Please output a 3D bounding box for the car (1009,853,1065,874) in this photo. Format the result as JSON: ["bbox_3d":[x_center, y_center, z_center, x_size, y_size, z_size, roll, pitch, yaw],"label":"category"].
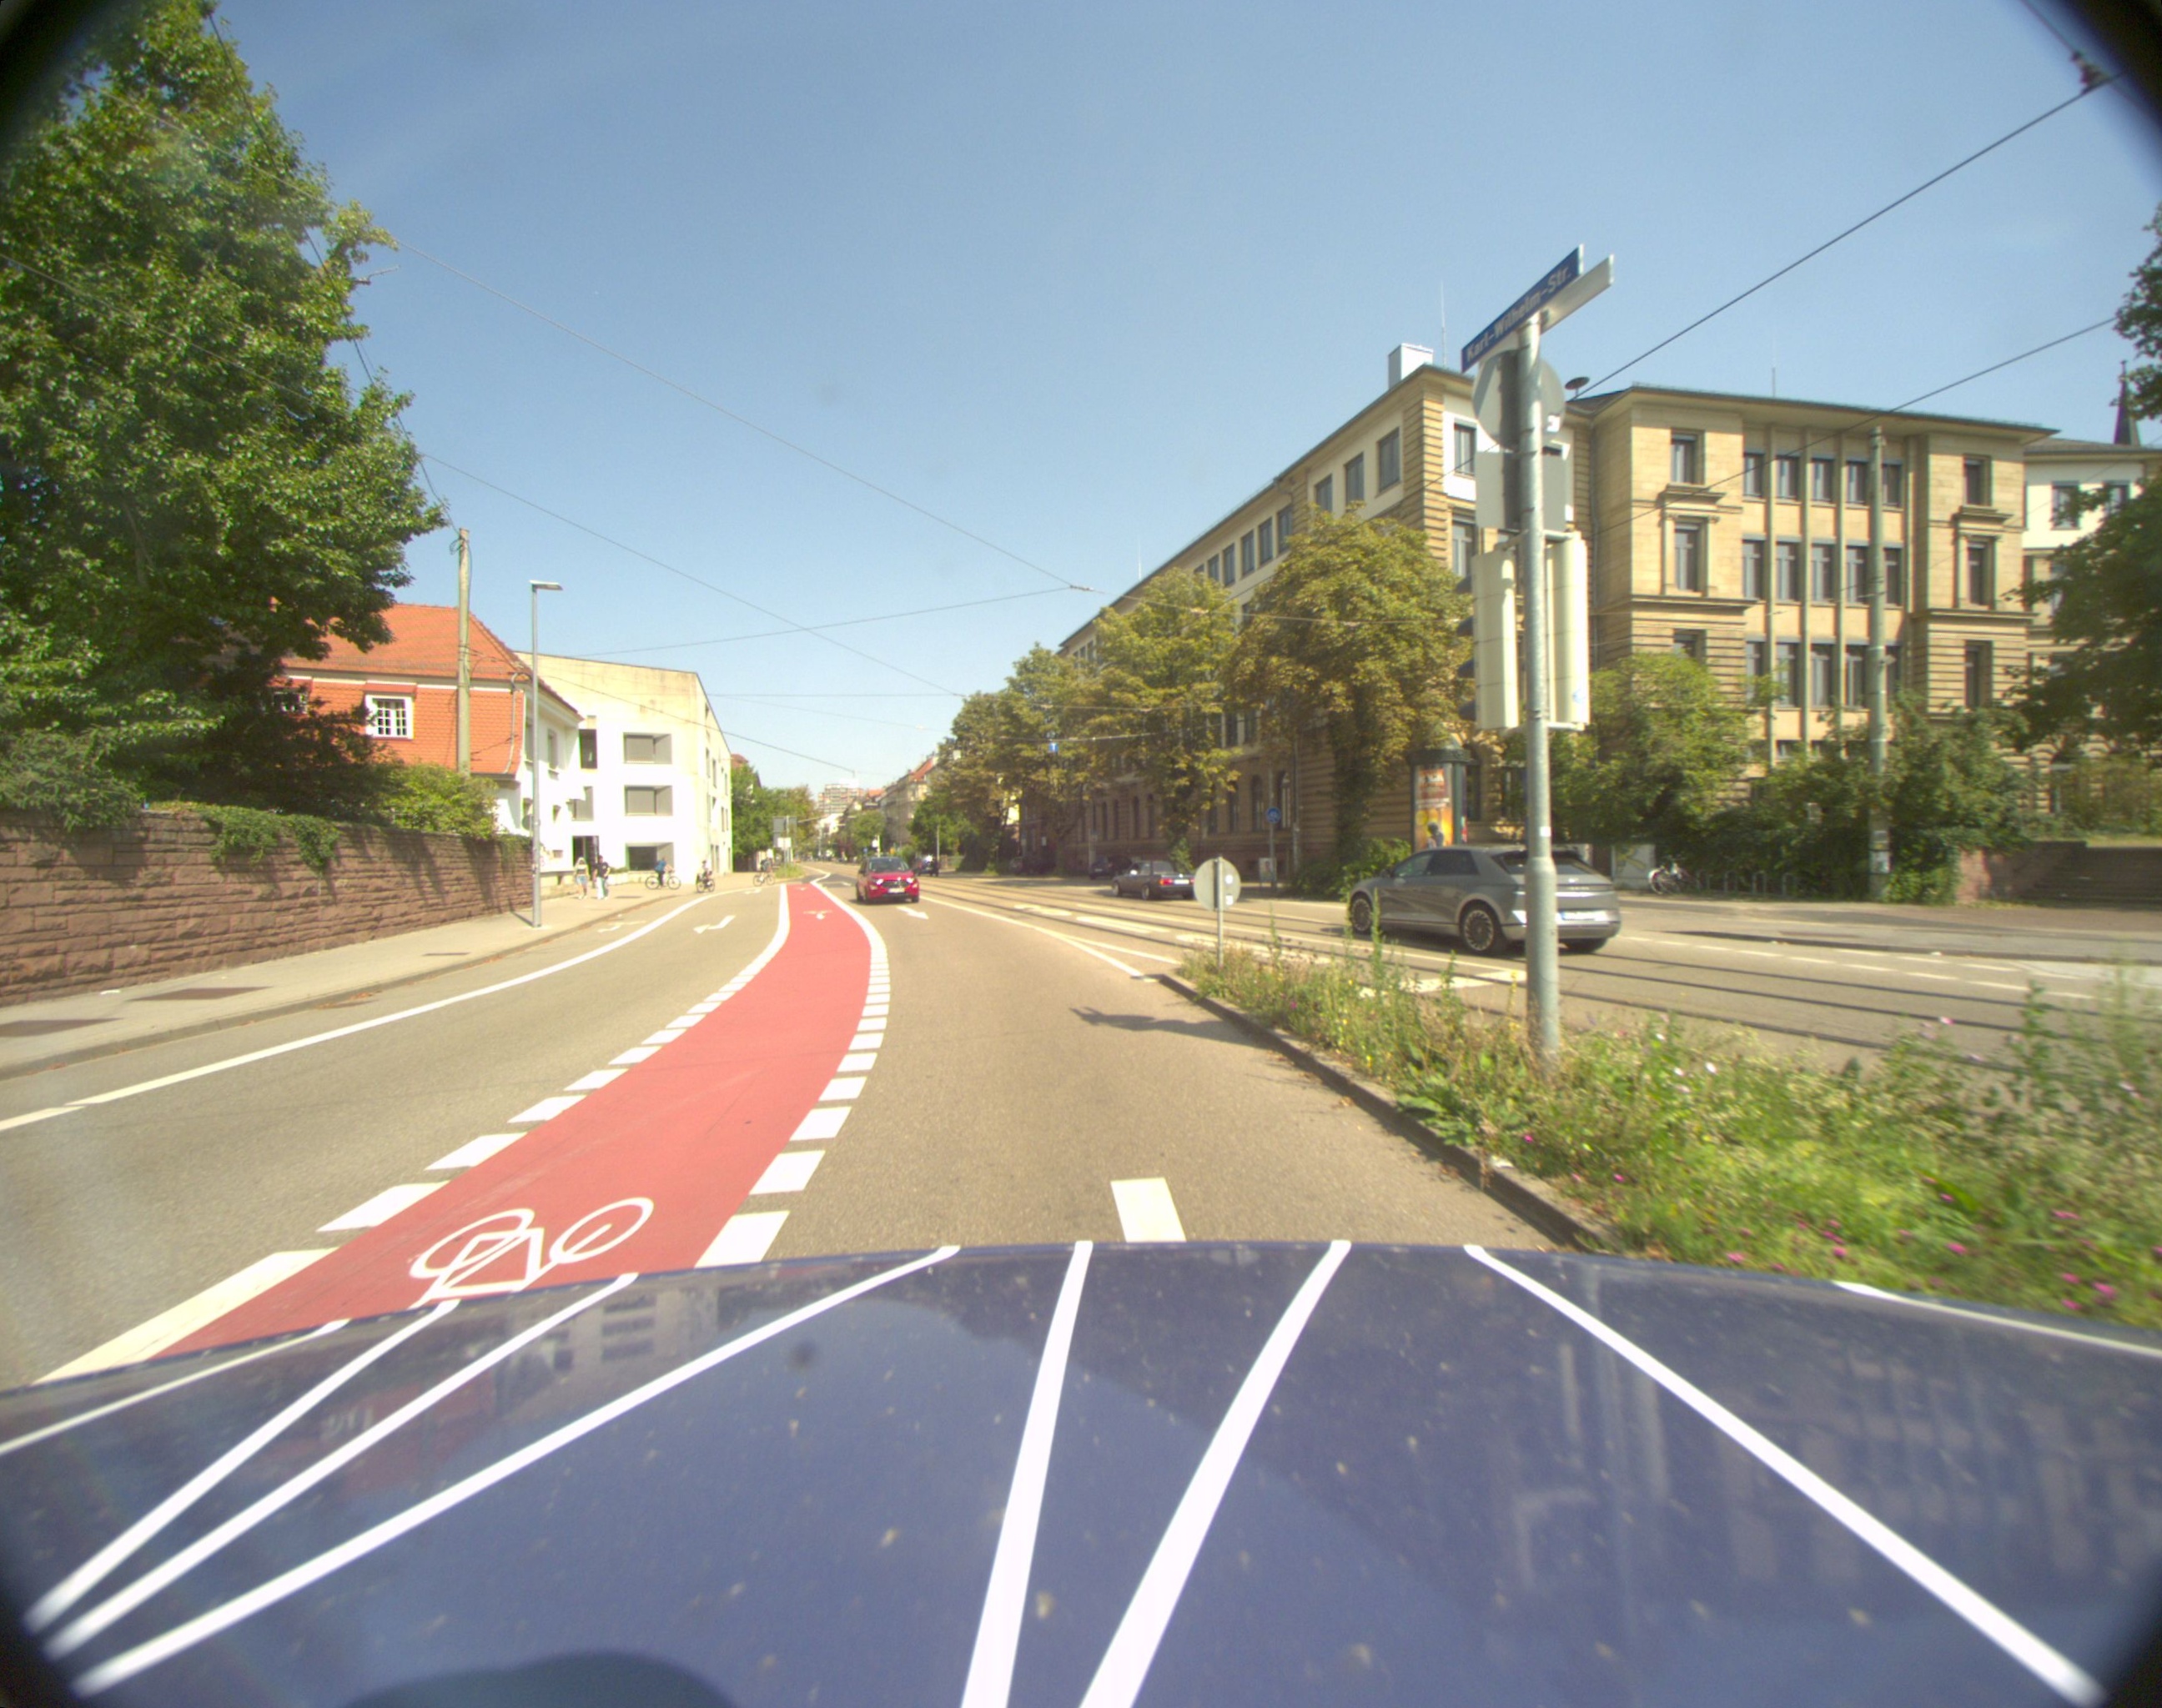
[{"bbox_3d":[-3.440,0.728,60.167,1.816,1.453,4.438,-1,1,42],"label":"car"}]

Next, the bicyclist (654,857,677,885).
[{"bbox_3d":[-22.483,0.916,41.100,0.626,1.530,0.906,1,-1,39],"label":"bicyclist"}]

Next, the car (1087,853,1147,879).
[{"bbox_3d":[2.236,0.702,46.326,1.816,1.487,4.172,-1,0,32],"label":"car"}]

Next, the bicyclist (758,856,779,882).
[{"bbox_3d":[-19.759,0.930,48.055,0.626,1.589,0.994,0,1,32],"label":"bicyclist"}]

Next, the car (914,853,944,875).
[{"bbox_3d":[-12.029,0.748,60.044,1.698,1.645,3.574,-2,1,-21],"label":"car"}]

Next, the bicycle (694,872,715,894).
[{"bbox_3d":[-19.282,1.447,38.976,0.742,1.042,2.229,-2,0,-21],"label":"bicycle"}]

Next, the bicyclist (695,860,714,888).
[{"bbox_3d":[-19.310,1.003,39.013,0.748,1.403,0.960,-2,1,-21],"label":"bicyclist"}]

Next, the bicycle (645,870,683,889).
[{"bbox_3d":[-22.522,1.353,41.042,0.614,0.994,1.715,0,-1,39],"label":"bicycle"}]

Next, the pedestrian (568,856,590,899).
[{"bbox_3d":[-20.057,0.930,30.377,0.621,1.656,0.486,-2,1,-22],"label":"pedestrian"}]

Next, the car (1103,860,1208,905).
[{"bbox_3d":[2.434,0.901,26.096,1.695,1.370,4.609,-1,0,-21],"label":"car"}]

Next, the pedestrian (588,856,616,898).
[{"bbox_3d":[-19.300,0.907,30.643,0.730,1.656,0.878,-2,1,-19],"label":"pedestrian"}]

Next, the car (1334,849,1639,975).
[{"bbox_3d":[6.106,0.751,12.233,1.778,1.601,4.668,-1,0,-11],"label":"car"}]

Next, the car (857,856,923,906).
[{"bbox_3d":[-6.757,0.883,26.626,1.819,1.542,4.014,-2,0,-20],"label":"car"}]

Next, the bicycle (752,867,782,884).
[{"bbox_3d":[-19.805,1.337,47.996,0.614,0.994,1.714,0,0,32],"label":"bicycle"}]

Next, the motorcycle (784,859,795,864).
[{"bbox_3d":[-61.449,1.668,160.252,2.003,1.009,0.795,2,-1,-22],"label":"motorcycle"}]

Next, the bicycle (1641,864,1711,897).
[{"bbox_3d":[17.818,0.777,22.752,2.183,0.889,0.748,-1,0,-25],"label":"bicycle"}]
